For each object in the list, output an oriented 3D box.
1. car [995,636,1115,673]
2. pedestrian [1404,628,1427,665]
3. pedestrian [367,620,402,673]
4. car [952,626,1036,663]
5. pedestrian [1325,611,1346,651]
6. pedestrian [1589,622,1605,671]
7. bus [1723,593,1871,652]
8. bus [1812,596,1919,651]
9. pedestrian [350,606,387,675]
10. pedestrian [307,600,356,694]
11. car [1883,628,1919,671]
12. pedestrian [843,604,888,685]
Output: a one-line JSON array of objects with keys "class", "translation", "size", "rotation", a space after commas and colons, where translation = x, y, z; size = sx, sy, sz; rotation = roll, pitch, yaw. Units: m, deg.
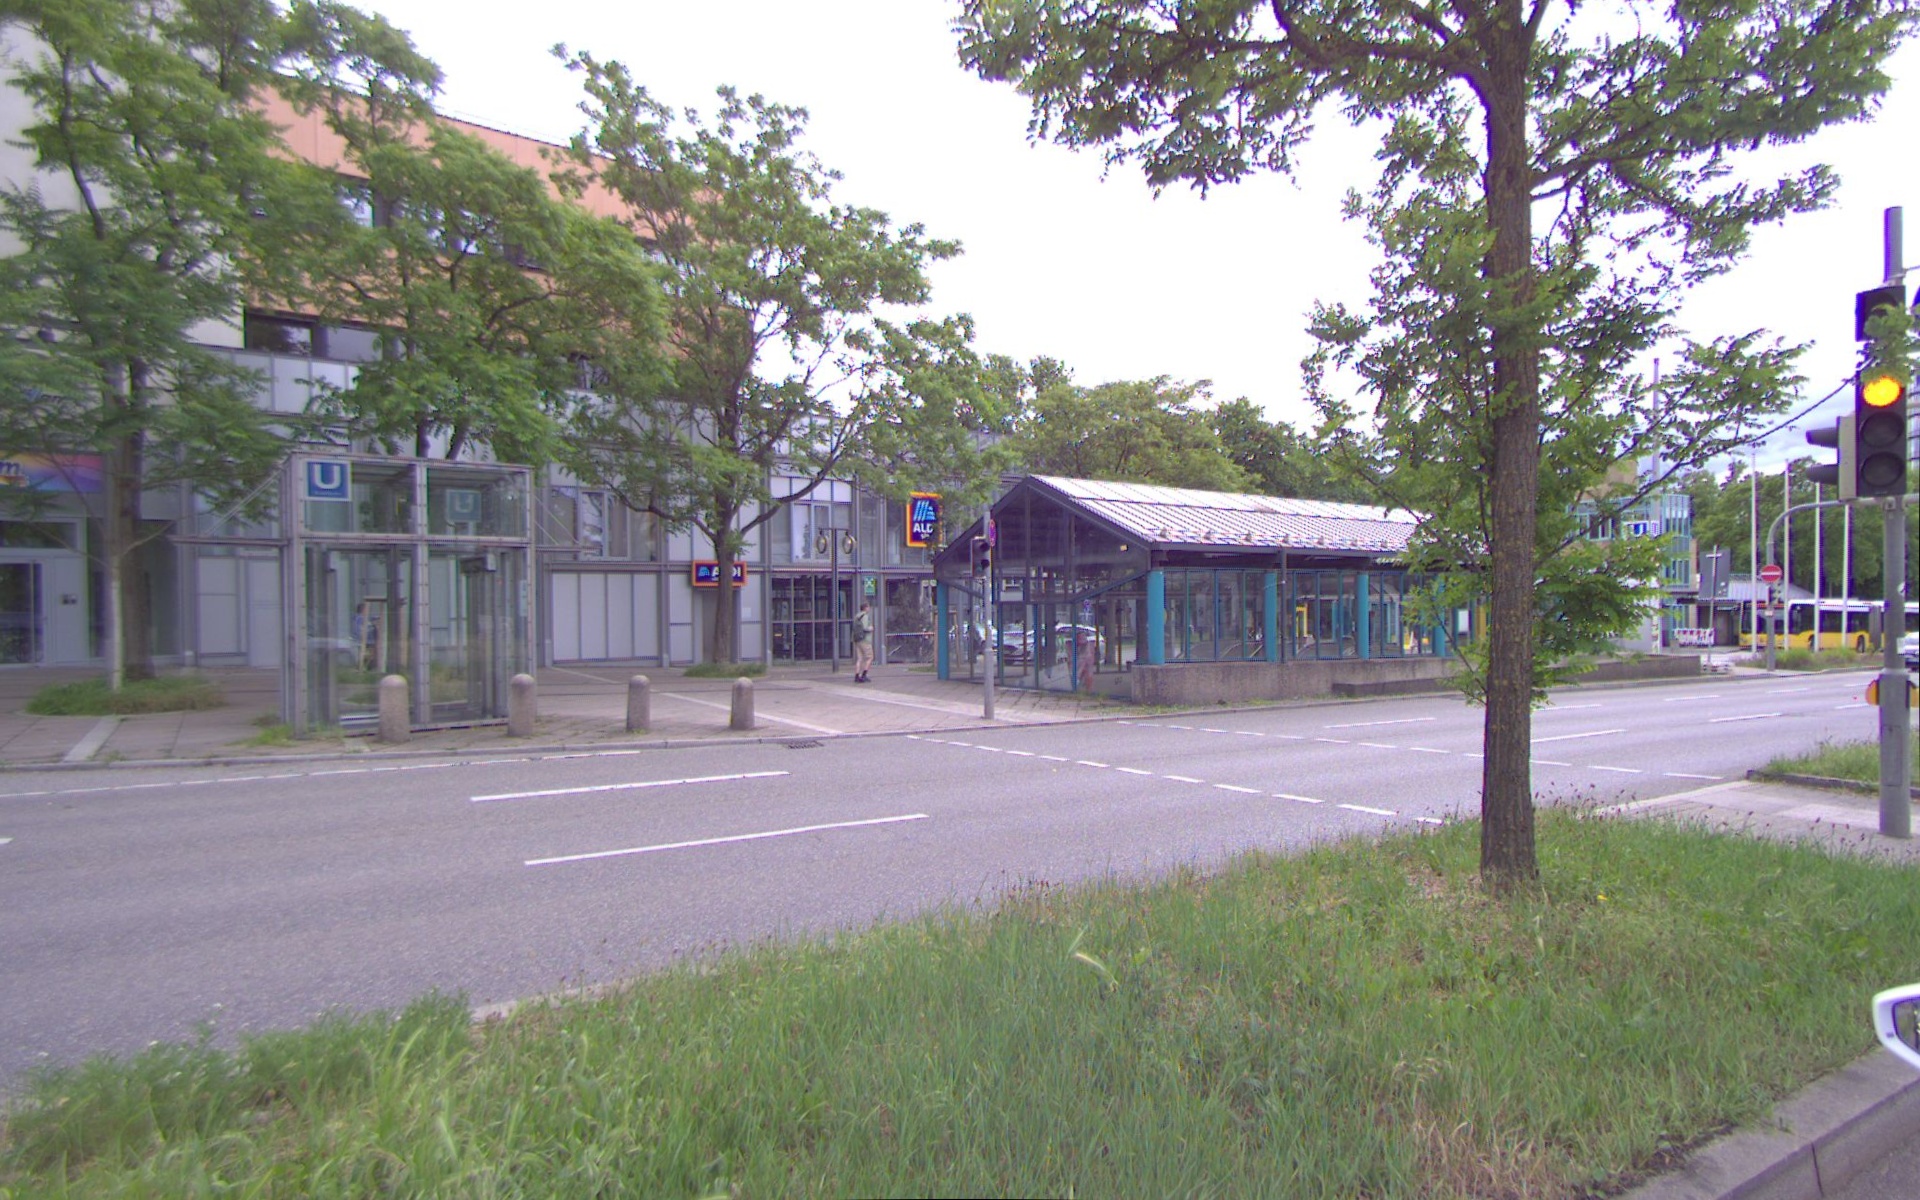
[{"class": "car", "translation": [3.350, 1.884, 35.147], "size": [3.959, 1.184, 1.812], "rotation": [1, -2, -34]}, {"class": "pedestrian", "translation": [20.393, 2.074, 44.978], "size": [0.652, 1.591, 0.633], "rotation": [2, 0, -22]}, {"class": "pedestrian", "translation": [-13.305, 1.065, 23.220], "size": [0.617, 1.197, 0.417], "rotation": [1, -1, -40]}, {"class": "car", "translation": [1.651, 2.201, 50.379], "size": [1.769, 1.710, 4.838], "rotation": [1, -1, -33]}, {"class": "pedestrian", "translation": [15.845, 1.303, 42.341], "size": [0.703, 1.677, 0.517], "rotation": [1, 0, -37]}, {"class": "pedestrian", "translation": [21.021, 1.527, 33.145], "size": [0.412, 1.612, 0.356], "rotation": [0, -1, 31]}, {"class": "bus", "translation": [49.924, 1.384, 59.829], "size": [10.036, 3.293, 2.980], "rotation": [1, -1, -26]}, {"class": "bus", "translation": [57.920, 1.546, 63.770], "size": [7.771, 3.313, 2.980], "rotation": [1, -1, -26]}, {"class": "pedestrian", "translation": [-13.278, 0.905, 22.548], "size": [0.617, 1.523, 0.562], "rotation": [1, -1, -40]}, {"class": "pedestrian", "translation": [-11.528, 0.846, 18.426], "size": [0.714, 1.672, 0.672], "rotation": [1, 0, -34]}, {"class": "car", "translation": [37.549, 1.916, 39.168], "size": [3.316, 1.599, 1.673], "rotation": [1, -1, -36]}, {"class": "pedestrian", "translation": [-2.230, 1.039, 23.714], "size": [0.530, 1.857, 0.916], "rotation": [0, -1, 44]}]
